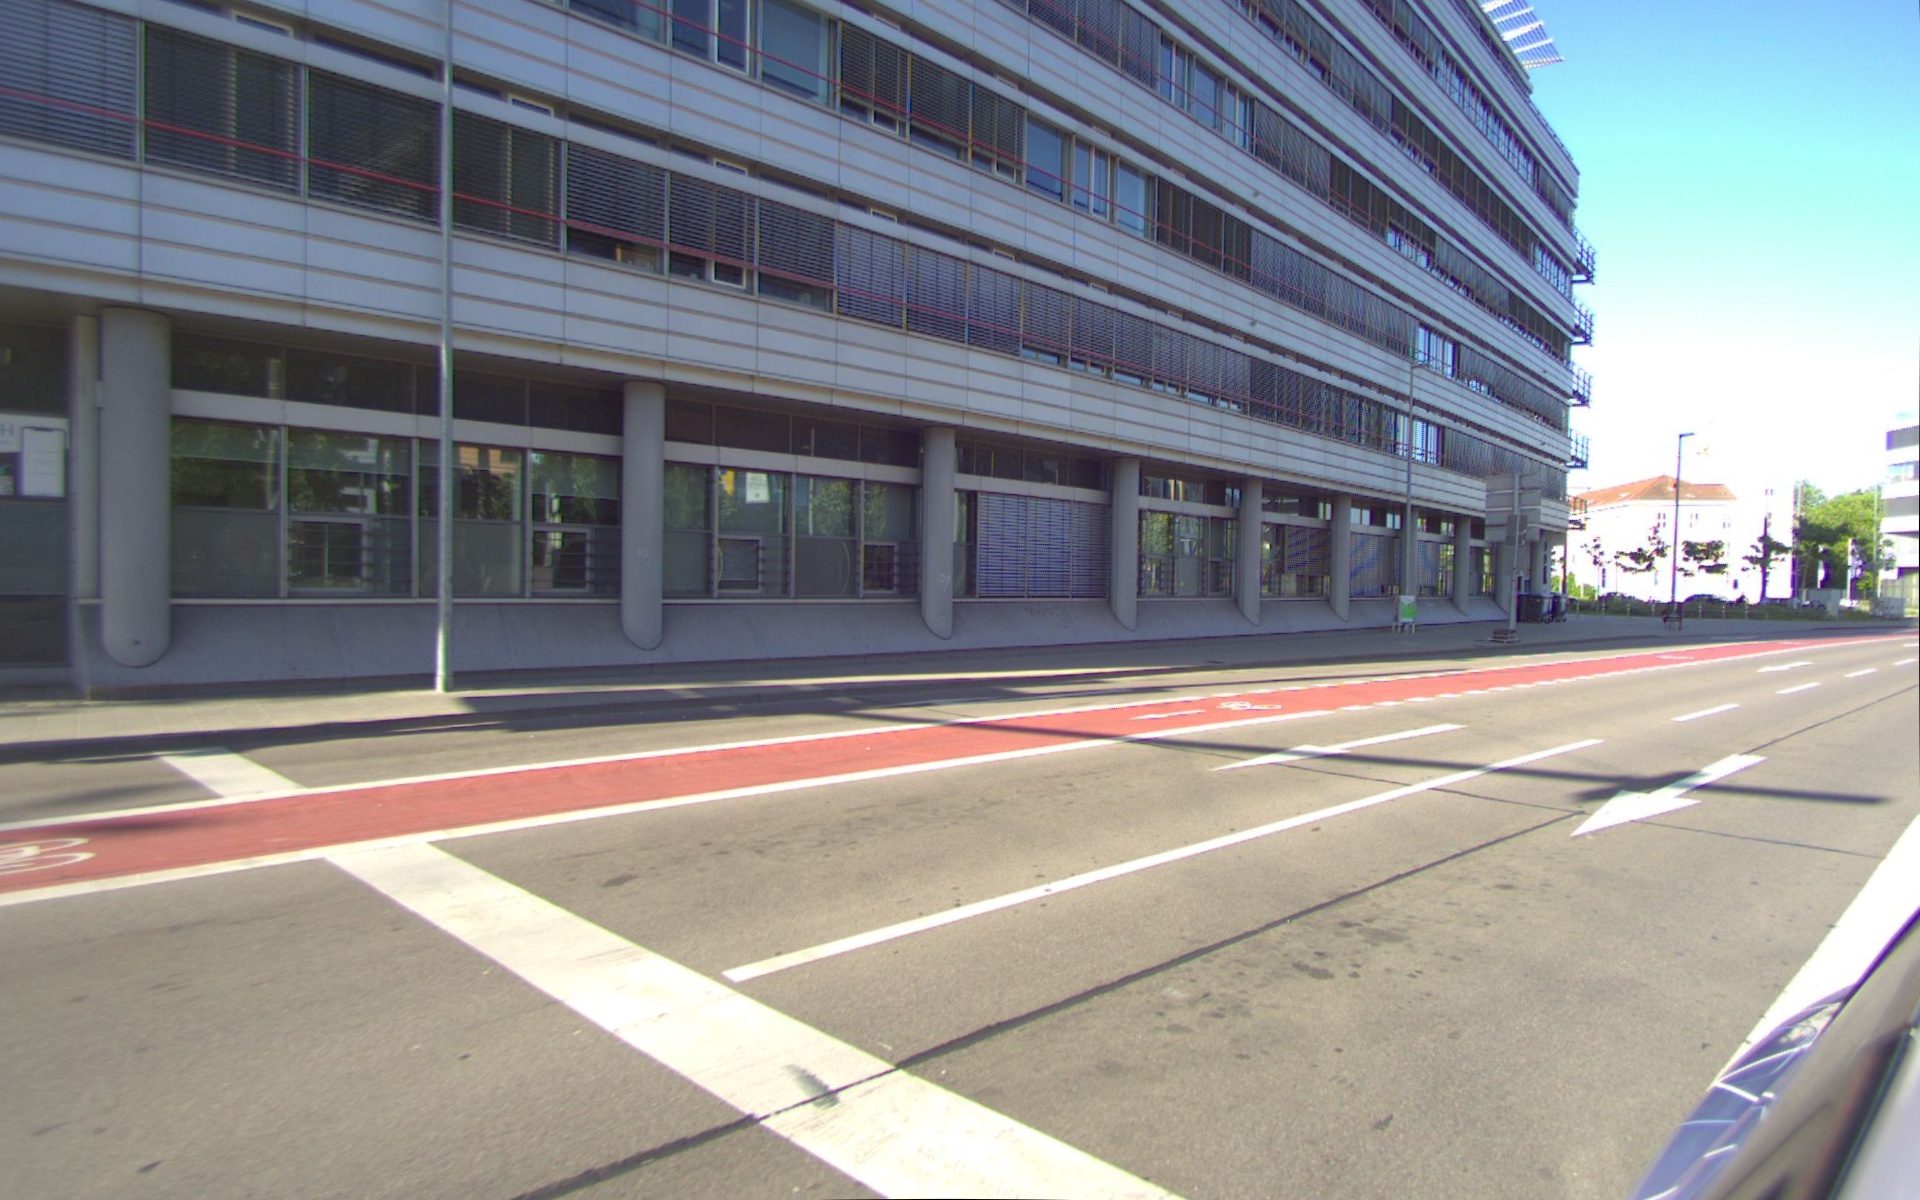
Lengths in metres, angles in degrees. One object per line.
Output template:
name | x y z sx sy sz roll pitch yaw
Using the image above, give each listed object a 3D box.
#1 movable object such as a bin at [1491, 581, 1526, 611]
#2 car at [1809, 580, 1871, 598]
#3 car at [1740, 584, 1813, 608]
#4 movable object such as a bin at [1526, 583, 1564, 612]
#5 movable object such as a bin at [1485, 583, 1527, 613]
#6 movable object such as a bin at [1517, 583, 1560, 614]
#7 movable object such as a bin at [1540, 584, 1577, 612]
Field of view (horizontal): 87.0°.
movable object such as a bin | 25.761 -0.192 47.509 1.088 1.391 1.109 0 2 -40
car | 86.664 -1.071 99.699 1.647 1.546 4.357 0 3 -35
car | 56.150 -0.276 69.667 1.706 1.551 3.805 1 2 -4
movable object such as a bin | 27.408 -0.118 47.418 1.305 1.317 1.173 0 2 -40
movable object such as a bin | 24.712 -0.118 45.814 1.153 1.317 1.327 0 2 -40
movable object such as a bin | 25.579 -0.069 44.762 1.153 1.317 1.327 0 2 -40
movable object such as a bin | 28.491 -0.108 48.183 1.305 1.317 1.173 0 2 -40
